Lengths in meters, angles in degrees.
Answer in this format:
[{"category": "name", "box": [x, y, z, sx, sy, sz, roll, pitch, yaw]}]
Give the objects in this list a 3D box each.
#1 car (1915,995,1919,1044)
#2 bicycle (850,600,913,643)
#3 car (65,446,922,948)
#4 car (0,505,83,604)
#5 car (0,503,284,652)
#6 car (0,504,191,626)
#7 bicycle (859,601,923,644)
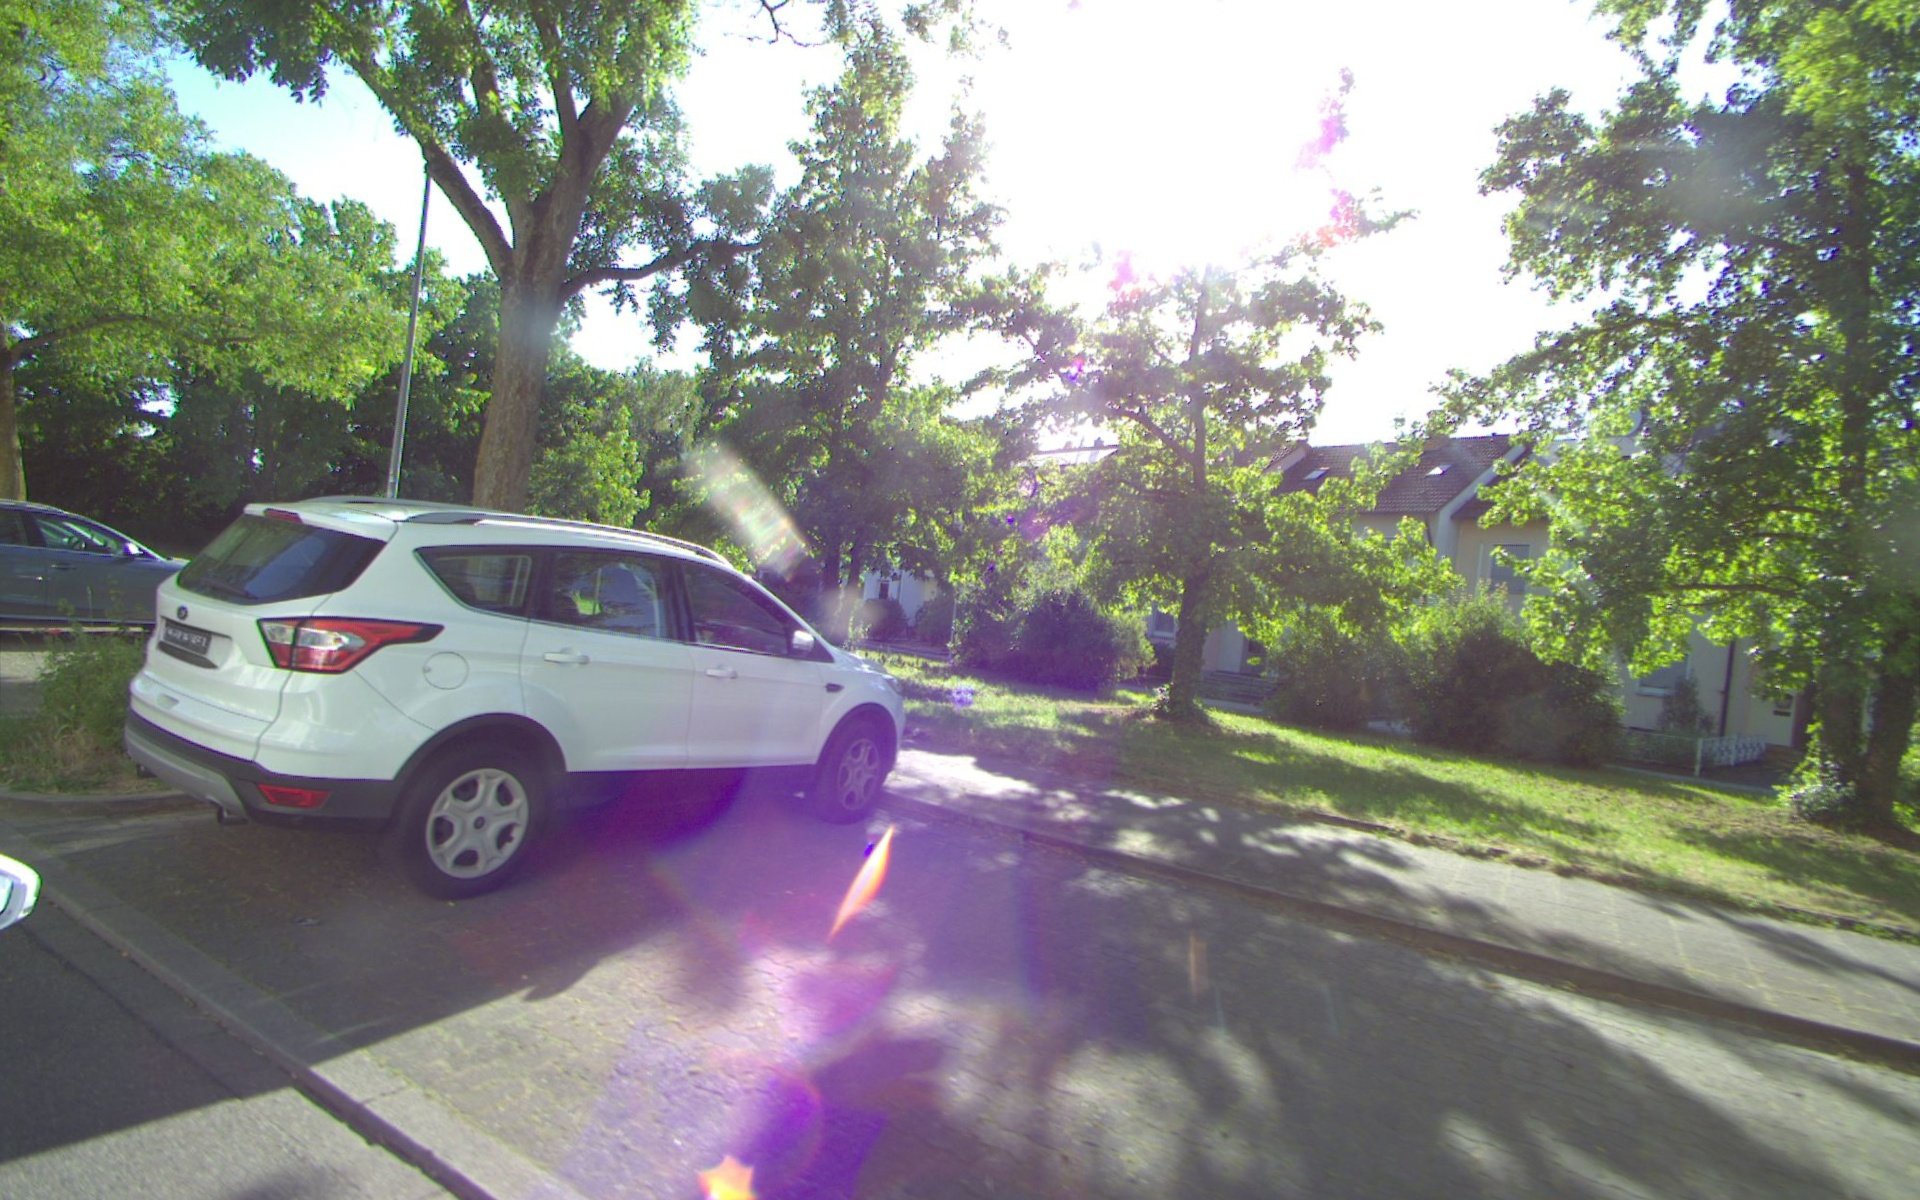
[{"category": "car", "box": [4.301, 1.047, 2.301, 1.715, 1.946, 4.440, 6, 0, 27]}, {"category": "bicycle", "box": [-3.242, 0.908, 41.944, 0.812, 1.491, 2.912, 6, -2, 35]}, {"category": "car", "box": [-2.144, 0.418, 5.752, 1.717, 1.785, 4.045, 6, 0, 32]}, {"category": "car", "box": [-16.096, -0.861, 15.281, 1.611, 1.453, 3.905, 7, 0, 37]}, {"category": "car", "box": [-10.480, -0.308, 11.246, 1.717, 1.490, 4.483, 6, 0, 32]}, {"category": "car", "box": [-12.518, -0.509, 12.880, 1.610, 1.454, 3.905, 6, 1, 35]}, {"category": "bicycle", "box": [-2.797, 0.948, 40.970, 0.812, 1.460, 2.912, 6, -2, 35]}]
